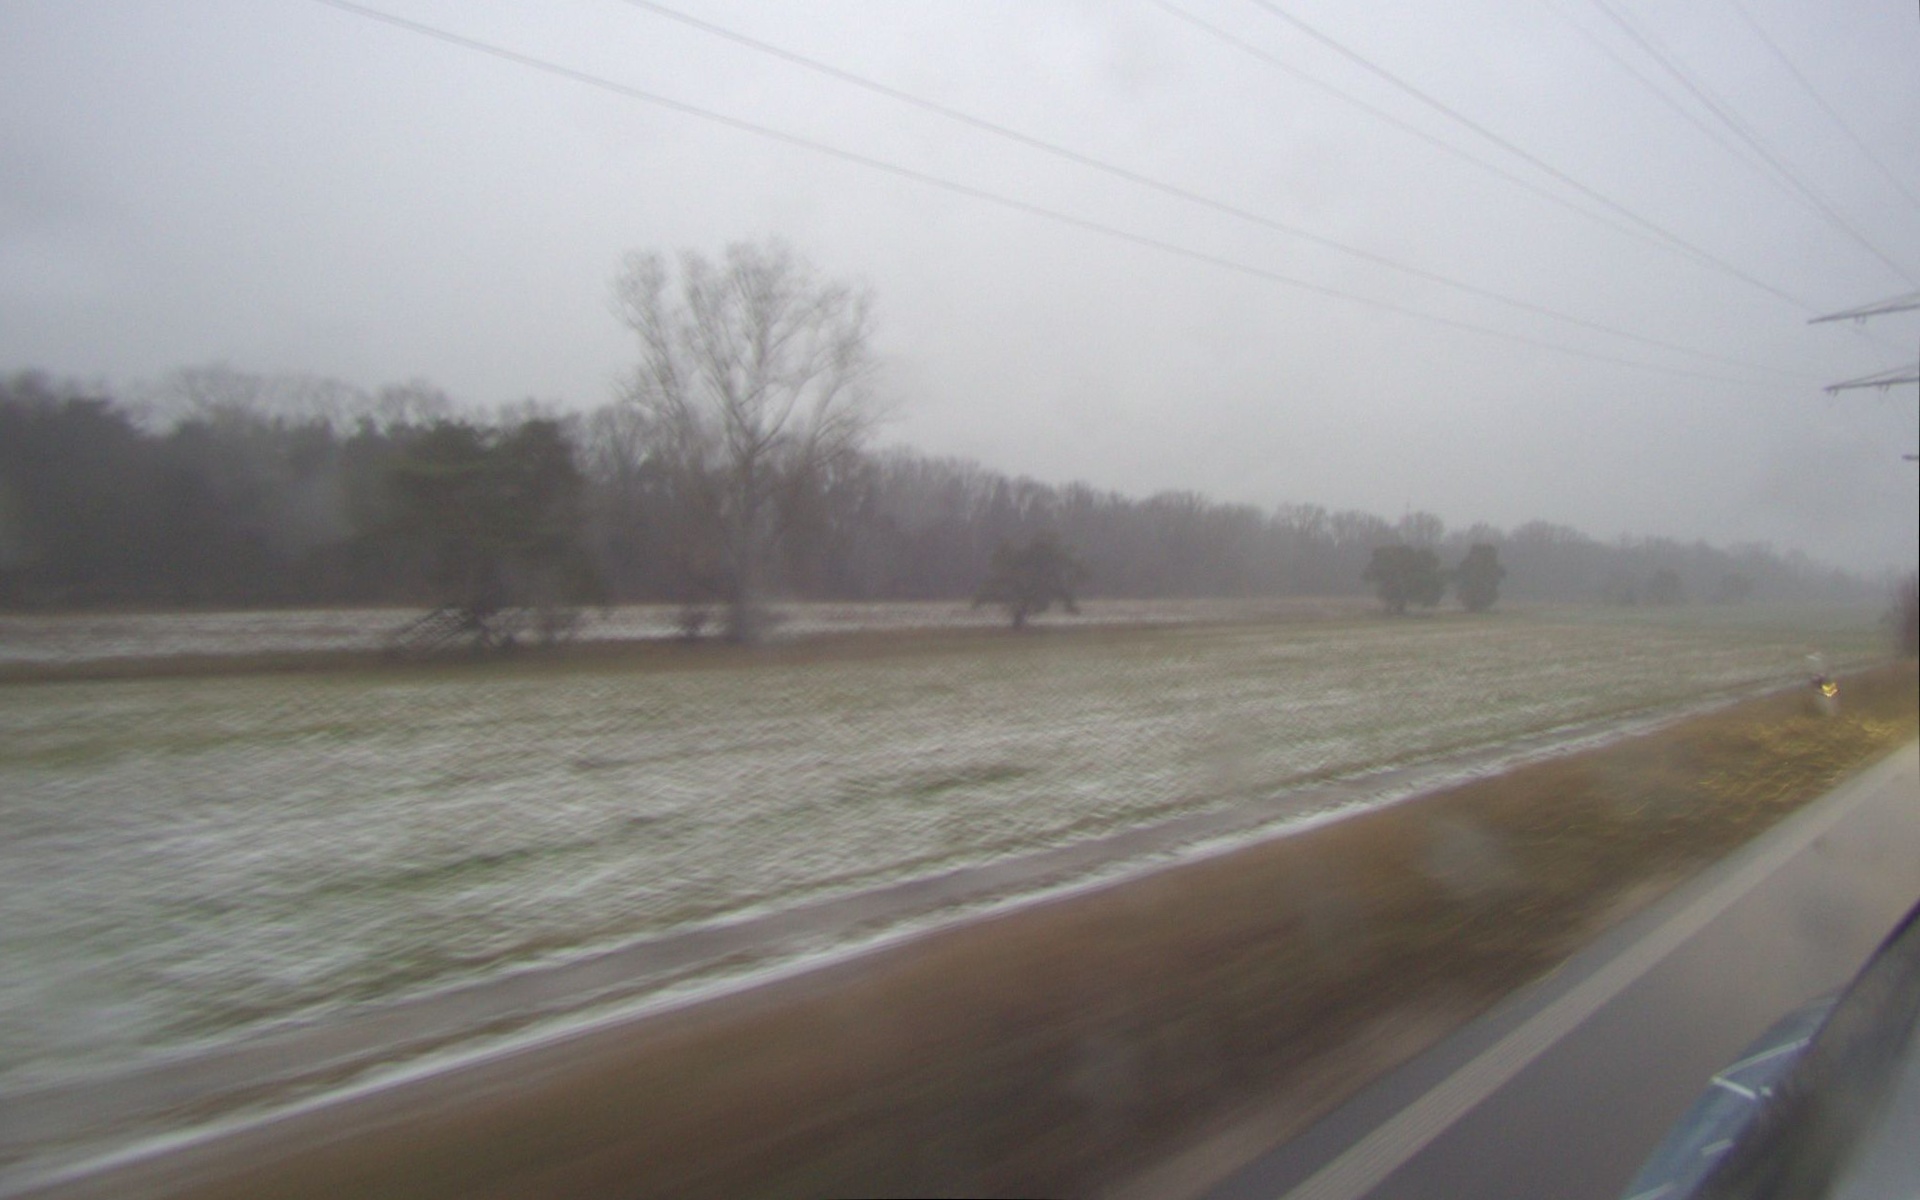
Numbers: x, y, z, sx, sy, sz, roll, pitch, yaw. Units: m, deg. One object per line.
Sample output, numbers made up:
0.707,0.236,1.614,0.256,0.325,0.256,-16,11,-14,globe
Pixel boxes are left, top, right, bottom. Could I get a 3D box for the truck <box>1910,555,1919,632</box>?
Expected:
41.296,-0.295,41.506,7.718,3.015,2.539,-1,0,-40,truck
